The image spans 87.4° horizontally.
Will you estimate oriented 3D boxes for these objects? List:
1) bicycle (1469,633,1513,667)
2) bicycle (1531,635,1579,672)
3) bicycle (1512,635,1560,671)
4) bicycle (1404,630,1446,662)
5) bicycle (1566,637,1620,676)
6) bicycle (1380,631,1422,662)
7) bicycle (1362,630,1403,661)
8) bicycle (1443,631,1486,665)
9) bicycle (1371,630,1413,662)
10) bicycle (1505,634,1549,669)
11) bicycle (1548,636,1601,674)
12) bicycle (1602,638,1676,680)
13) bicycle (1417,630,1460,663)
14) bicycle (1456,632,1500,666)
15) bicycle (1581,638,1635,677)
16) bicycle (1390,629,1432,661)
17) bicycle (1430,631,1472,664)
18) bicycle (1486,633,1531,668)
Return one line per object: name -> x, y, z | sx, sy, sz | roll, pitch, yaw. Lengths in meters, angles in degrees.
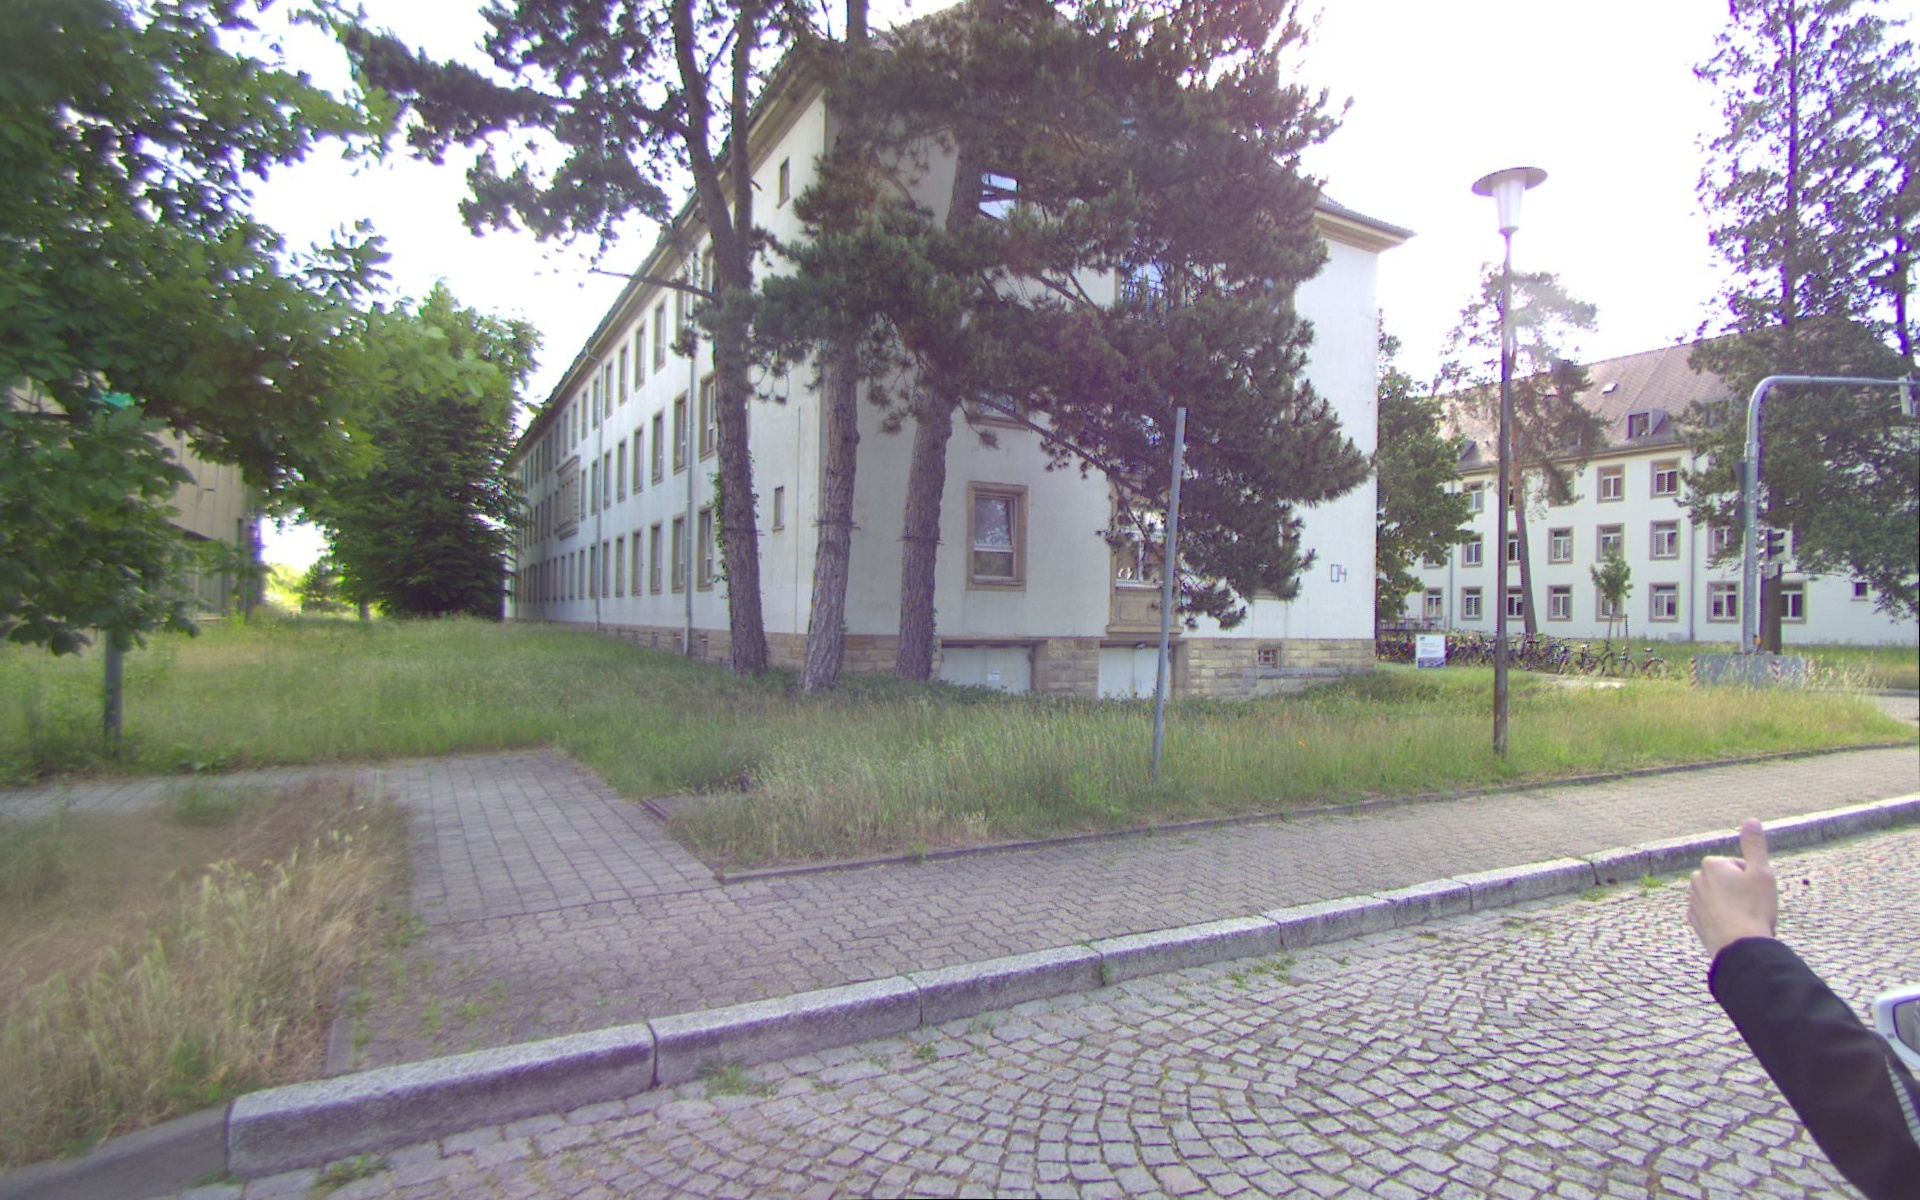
bicycle -> 19.635, 1.832, 37.120 | 1.954, 1.237, 0.511 | 1, -1, -31
bicycle -> 20.657, 1.856, 34.845 | 1.966, 1.237, 0.569 | 1, -1, -31
bicycle -> 20.400, 1.852, 35.562 | 2.006, 1.237, 0.576 | 1, -1, -31
bicycle -> 18.303, 1.793, 39.508 | 1.915, 1.237, 0.511 | 1, -1, -31
bicycle -> 21.040, 1.864, 33.377 | 2.099, 1.237, 0.630 | 2, -1, -31
bicycle -> 17.767, 1.873, 40.437 | 1.915, 1.237, 0.511 | 1, -1, -31
bicycle -> 17.342, 1.863, 41.203 | 1.915, 1.237, 0.511 | 1, -1, -31
bicycle -> 19.090, 1.812, 38.008 | 1.931, 1.237, 0.511 | 1, -1, -31
bicycle -> 17.556, 1.868, 40.810 | 1.915, 1.237, 0.511 | 1, -1, -31
bicycle -> 20.477, 1.853, 36.274 | 1.878, 1.237, 0.545 | 1, -1, -31
bicycle -> 20.749, 1.857, 33.906 | 2.080, 1.237, 0.630 | 2, -1, -31
bicycle -> 21.257, 1.821, 31.482 | 0.627, 1.237, 1.853 | 1, -1, -29
bicycle -> 18.578, 1.800, 38.982 | 1.915, 1.237, 0.511 | 1, -1, -31
bicycle -> 19.376, 1.822, 37.567 | 1.954, 1.237, 0.511 | 1, -1, -31
bicycle -> 21.284, 1.869, 32.961 | 2.090, 1.237, 0.630 | 2, -1, -31
bicycle -> 17.993, 1.786, 40.032 | 1.915, 1.237, 0.511 | 1, -1, -31
bicycle -> 18.827, 1.806, 38.496 | 1.915, 1.237, 0.511 | 1, -1, -31
bicycle -> 19.992, 1.841, 36.580 | 1.992, 1.237, 0.511 | 1, -1, -31
